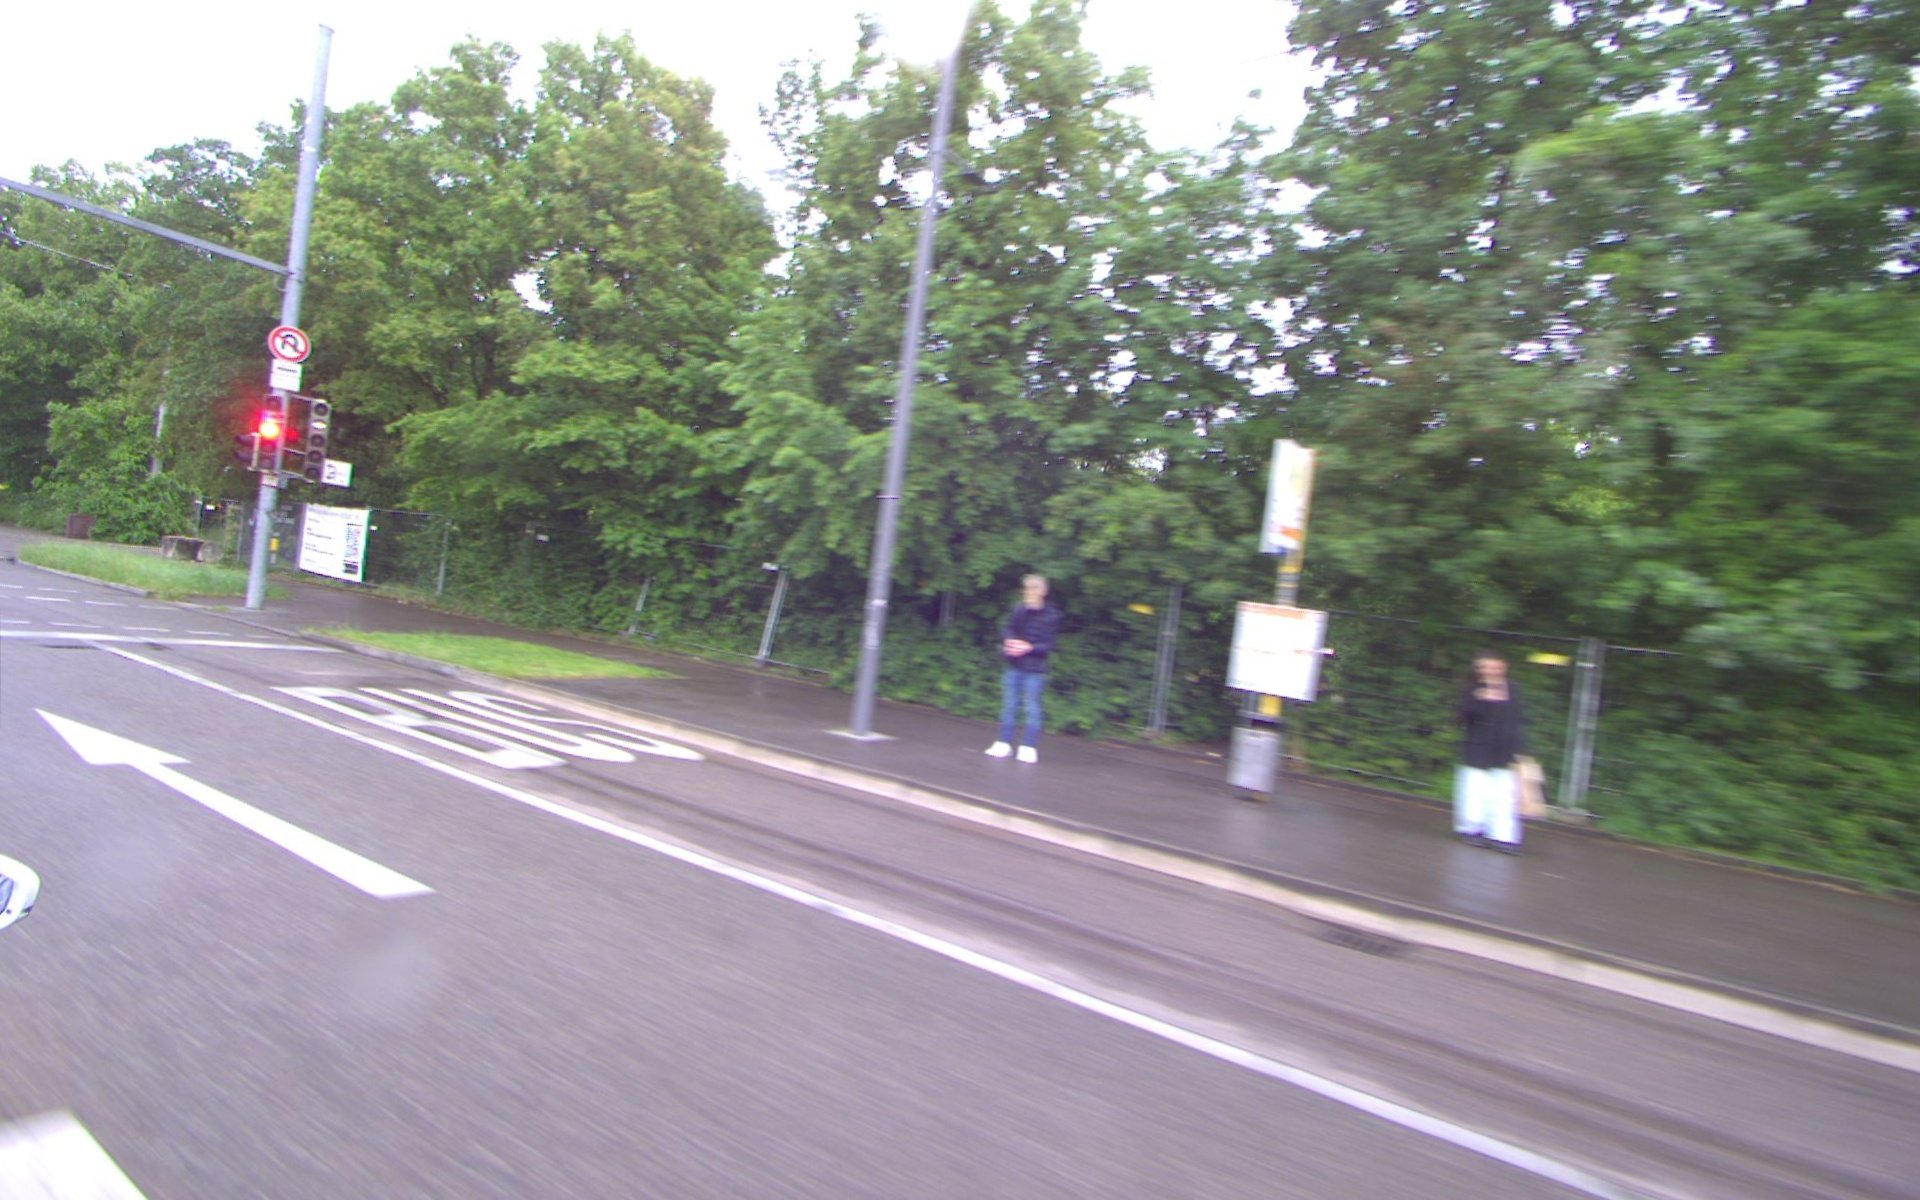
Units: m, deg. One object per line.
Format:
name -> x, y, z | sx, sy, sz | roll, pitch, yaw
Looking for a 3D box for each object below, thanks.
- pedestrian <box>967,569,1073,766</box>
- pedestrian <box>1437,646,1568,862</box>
pedestrian -> 0.635, 0.692, 10.522 | 0.706, 1.925, 0.641 | 7, 1, 28
pedestrian -> 4.657, 1.284, 8.678 | 0.779, 1.679, 0.677 | 7, 1, 28
